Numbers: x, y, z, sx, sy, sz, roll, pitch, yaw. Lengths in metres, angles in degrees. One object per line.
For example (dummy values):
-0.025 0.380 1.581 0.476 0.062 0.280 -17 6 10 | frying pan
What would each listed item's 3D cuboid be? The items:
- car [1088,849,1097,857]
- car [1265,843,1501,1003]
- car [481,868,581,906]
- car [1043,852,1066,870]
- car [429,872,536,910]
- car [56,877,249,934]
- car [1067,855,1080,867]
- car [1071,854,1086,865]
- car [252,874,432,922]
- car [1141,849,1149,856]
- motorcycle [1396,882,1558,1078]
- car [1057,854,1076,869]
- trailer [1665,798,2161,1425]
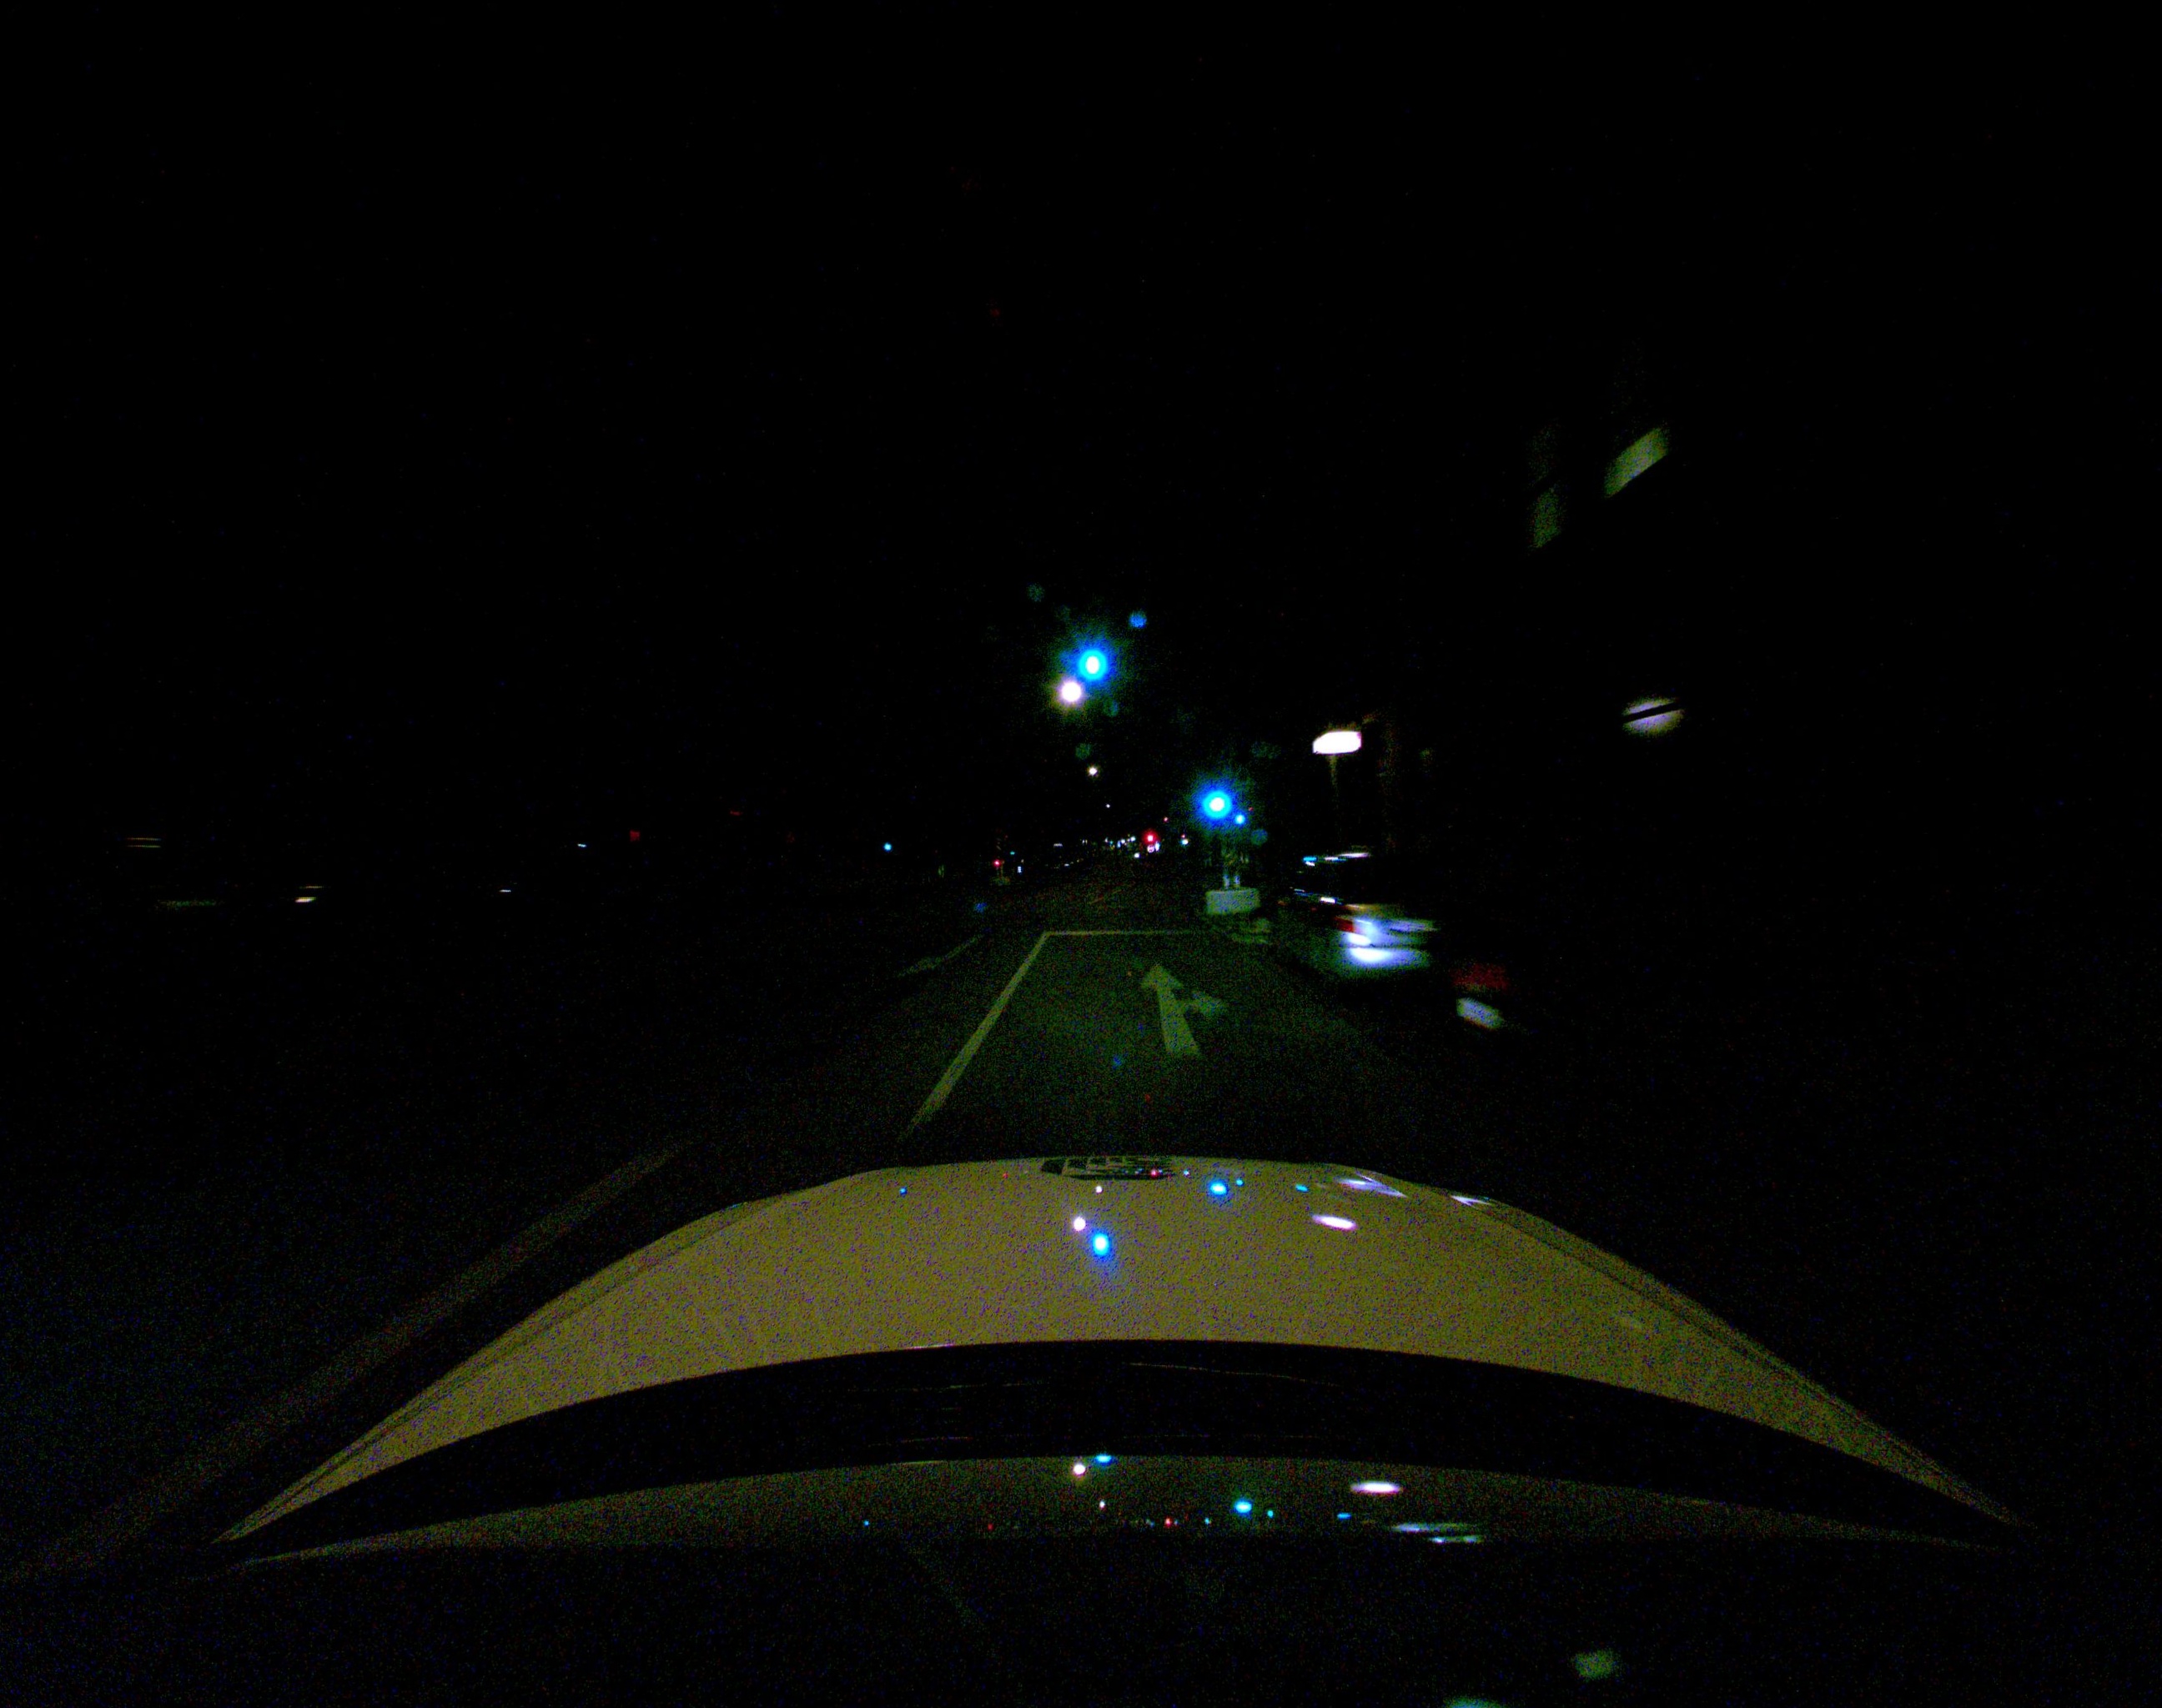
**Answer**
2.529 -0.213 171.987 1.644 1.431 4.003 -3 0 3 | car
3.258 0.647 9.540 1.579 1.461 3.802 -2 0 5 | car
-27.291 1.599 40.557 1.984 1.640 4.005 -3 0 4 | car
-2.383 0.684 73.542 1.707 1.494 3.992 -2 -2 2 | car
-29.910 1.826 40.892 1.984 1.640 4.191 -3 0 4 | car
-31.356 1.772 27.596 4.359 1.678 1.833 -2 -5 1 | car
-0.921 0.864 103.168 1.617 1.382 4.451 -3 0 0 | car
-0.303 0.791 116.325 1.891 1.471 4.456 -1 0 3 | car
-24.833 1.515 27.495 4.359 1.393 1.833 -2 -5 1 | car
13.764 -0.347 174.181 1.644 1.431 4.005 -3 0 4 | car
3.101 0.830 6.236 0.719 1.130 2.242 -2 0 36 | motorcycle
-1.570 0.842 89.656 1.762 1.485 4.769 -3 0 1 | car
3.352 0.593 1.889 1.592 1.495 3.740 -2 0 6 | trailer
